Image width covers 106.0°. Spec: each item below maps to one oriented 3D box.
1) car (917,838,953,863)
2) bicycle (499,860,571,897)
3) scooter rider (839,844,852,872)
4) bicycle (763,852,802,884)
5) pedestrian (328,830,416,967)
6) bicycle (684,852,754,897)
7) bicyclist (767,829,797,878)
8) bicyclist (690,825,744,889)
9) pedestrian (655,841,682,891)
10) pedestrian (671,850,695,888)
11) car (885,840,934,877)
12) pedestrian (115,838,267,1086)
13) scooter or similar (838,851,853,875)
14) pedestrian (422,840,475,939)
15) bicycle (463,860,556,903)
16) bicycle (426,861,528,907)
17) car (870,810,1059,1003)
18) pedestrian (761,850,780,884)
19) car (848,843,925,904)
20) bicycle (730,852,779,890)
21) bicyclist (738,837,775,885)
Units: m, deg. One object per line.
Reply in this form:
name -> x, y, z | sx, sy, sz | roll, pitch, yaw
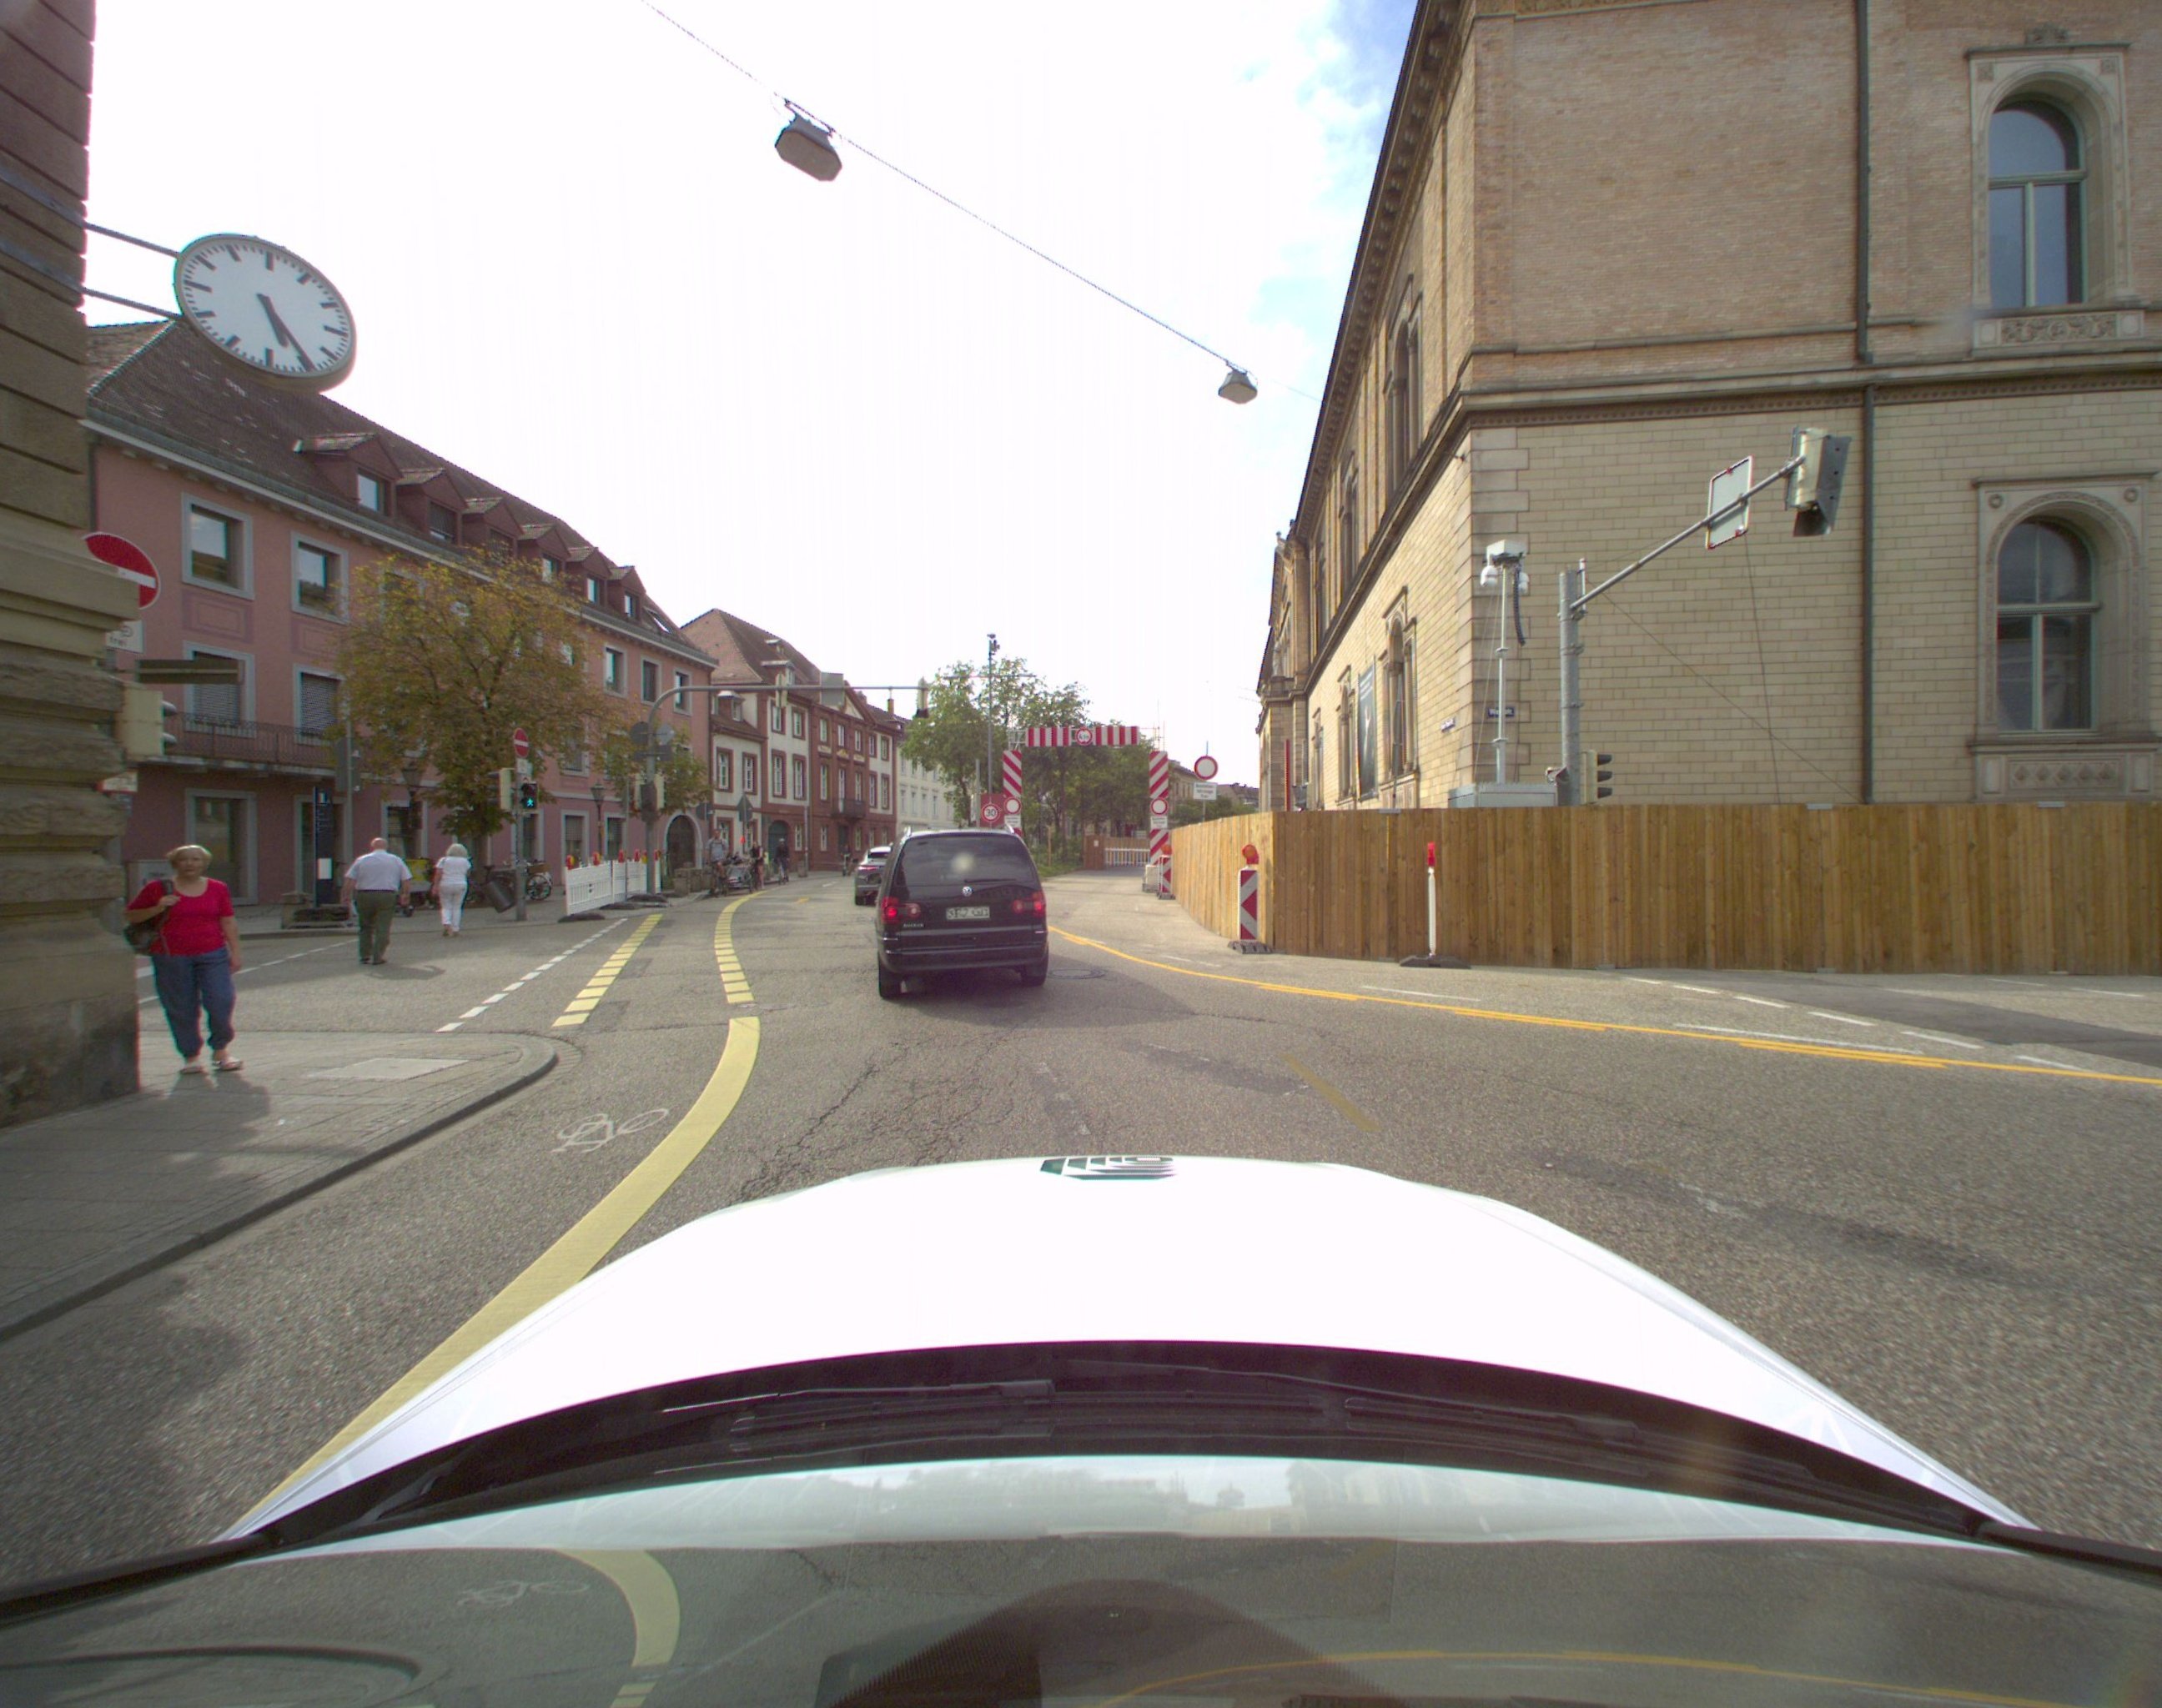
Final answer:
car -> -8.362, -0.194, 46.904 | 1.646, 1.321, 3.669 | -1, 0, -4
bicycle -> -18.281, 0.791, 27.329 | 0.666, 1.139, 2.067 | -2, 0, 15
scooter rider -> -12.876, 0.207, 44.577 | 0.599, 1.490, 0.677 | -1, 0, -10
bicycle -> -12.230, 0.553, 33.492 | 0.925, 1.255, 2.535 | -1, 0, -7
pedestrian -> -9.981, 0.589, 11.499 | 0.852, 1.835, 0.848 | -1, 0, -36
bicycle -> -10.837, 0.582, 24.553 | 1.055, 1.255, 3.033 | -1, 0, -7
bicyclist -> -12.229, -0.028, 33.348 | 0.925, 1.963, 1.103 | -1, 0, -7
bicyclist -> -10.780, 0.091, 24.188 | 1.090, 1.824, 1.362 | -1, 0, -7
pedestrian -> -14.213, 0.397, 28.046 | 0.669, 1.677, 0.690 | -2, 1, -36
pedestrian -> -18.273, 0.683, 37.408 | 0.661, 1.677, 0.698 | -2, 1, 2
car -> -7.824, 0.176, 37.465 | 1.771, 1.586, 3.991 | -1, 0, -6
pedestrian -> -6.274, 0.710, 5.776 | 0.619, 1.634, 0.538 | -1, 0, -36
scooter or similar -> -12.870, 0.480, 44.589 | 0.599, 1.255, 1.547 | -1, 0, -10
pedestrian -> -11.176, 0.613, 14.407 | 0.669, 1.677, 0.690 | -2, 1, -36
bicycle -> -15.240, 0.728, 21.738 | 2.047, 1.059, 0.504 | -2, 0, -4
bicycle -> -14.954, 0.742, 20.190 | 2.047, 1.059, 0.504 | -2, 0, -4
car -> -1.542, 0.483, 9.780 | 1.791, 1.790, 4.085 | 0, 0, -13
pedestrian -> -15.874, 0.650, 41.645 | 0.661, 1.677, 0.698 | -2, 1, 2
car -> -5.259, 0.464, 21.723 | 1.683, 1.469, 4.078 | 0, 0, -18
bicycle -> -11.287, 0.576, 28.284 | 0.925, 1.255, 2.535 | -1, 0, -7
bicyclist -> -11.269, 0.229, 28.293 | 0.925, 1.609, 1.061 | -1, 0, -7
